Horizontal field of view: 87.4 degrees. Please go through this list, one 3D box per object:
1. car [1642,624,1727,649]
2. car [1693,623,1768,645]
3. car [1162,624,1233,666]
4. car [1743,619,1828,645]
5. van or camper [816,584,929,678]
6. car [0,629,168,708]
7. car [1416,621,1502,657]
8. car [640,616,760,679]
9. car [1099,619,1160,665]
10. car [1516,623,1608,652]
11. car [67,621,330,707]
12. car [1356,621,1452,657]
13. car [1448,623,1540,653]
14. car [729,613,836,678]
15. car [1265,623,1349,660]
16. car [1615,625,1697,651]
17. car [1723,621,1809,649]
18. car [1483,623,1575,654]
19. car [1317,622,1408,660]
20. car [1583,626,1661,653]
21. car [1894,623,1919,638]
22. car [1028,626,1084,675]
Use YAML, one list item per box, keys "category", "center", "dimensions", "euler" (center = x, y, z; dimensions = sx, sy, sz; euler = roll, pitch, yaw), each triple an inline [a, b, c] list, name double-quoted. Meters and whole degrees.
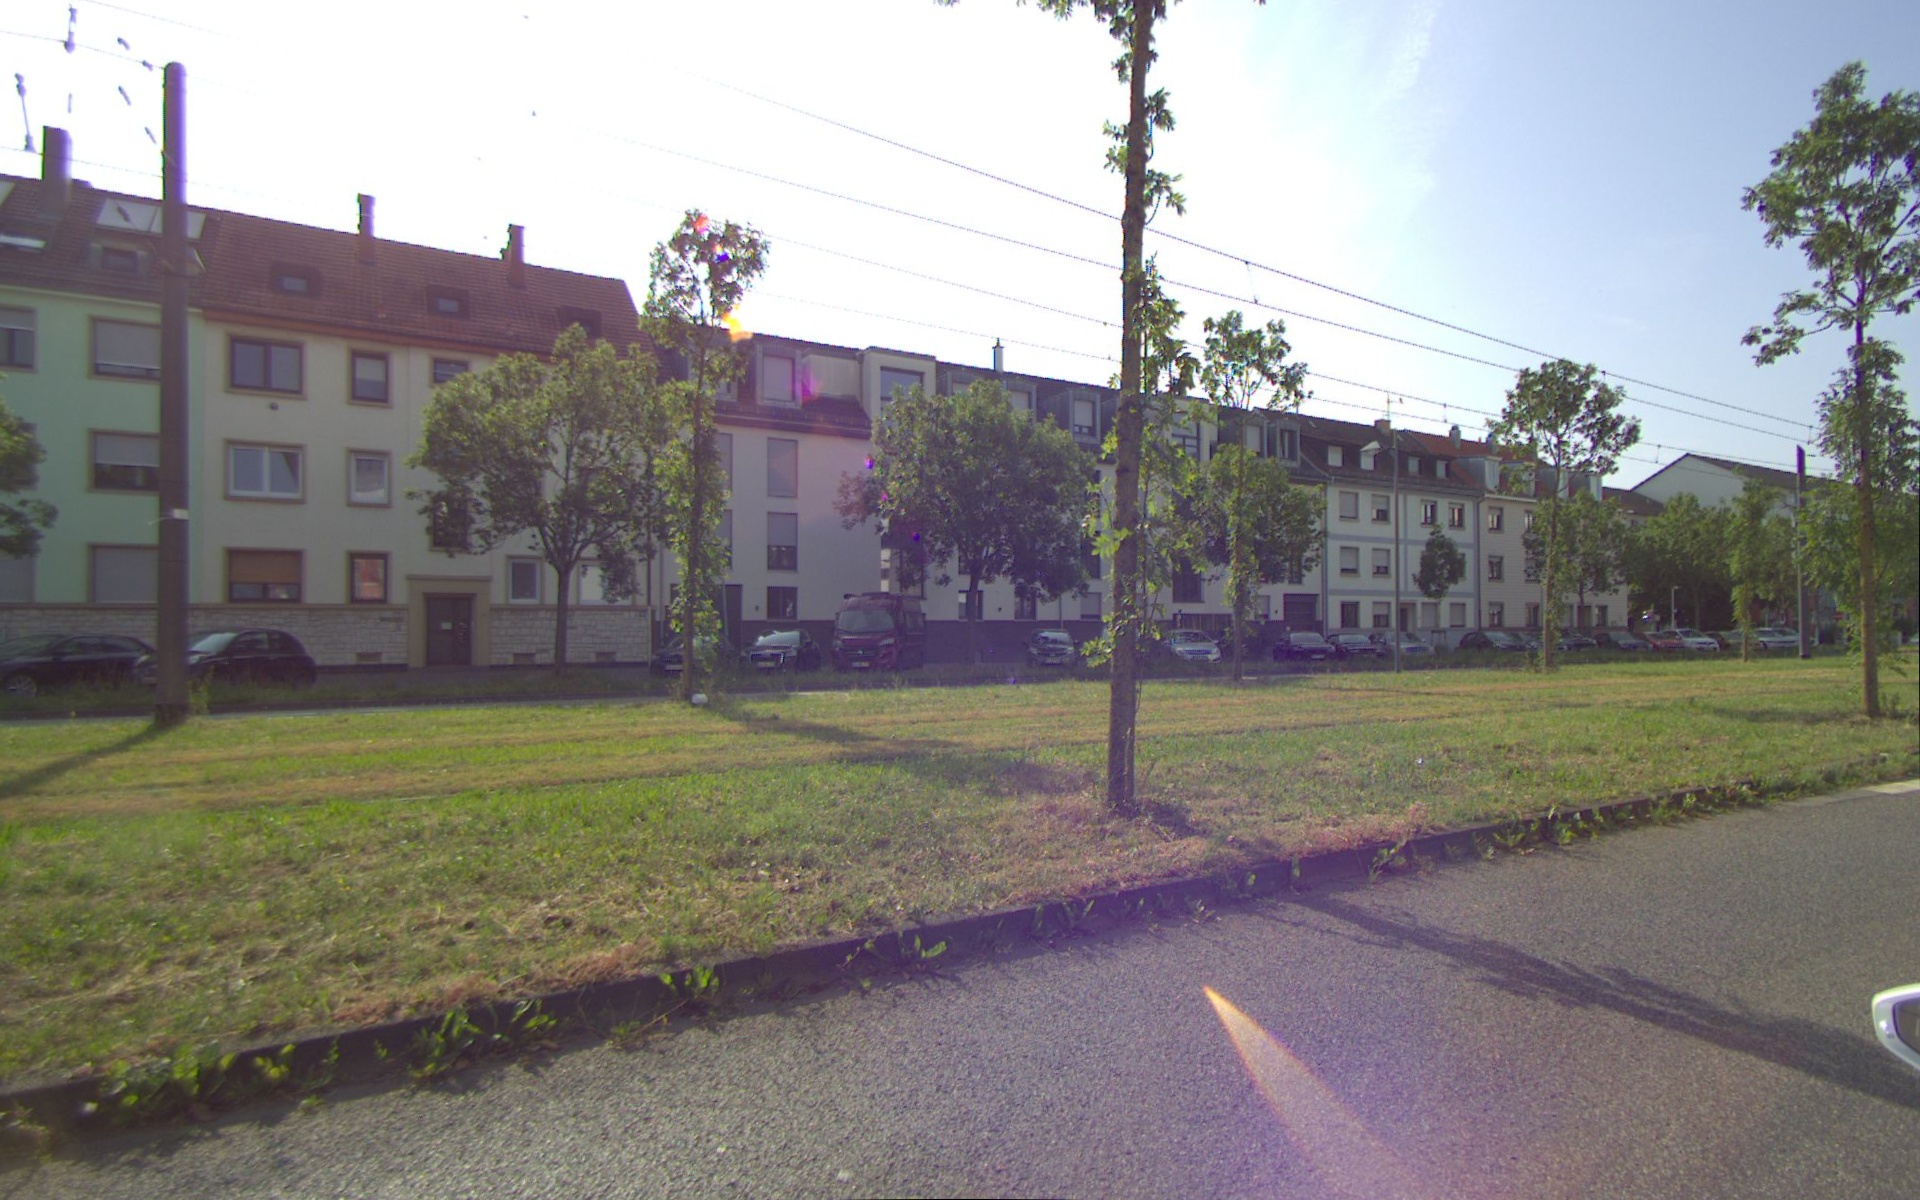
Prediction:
- category: "car"
  center: [40.818, 2.033, 56.678]
  dimensions: [1.849, 1.286, 3.999]
  euler: [1, 0, -1]
- category: "car"
  center: [46.592, 2.011, 60.864]
  dimensions: [1.959, 1.194, 4.002]
  euler: [1, 0, 10]
- category: "car"
  center: [8.551, 1.596, 36.505]
  dimensions: [1.699, 1.338, 4.400]
  euler: [0, 0, 2]
- category: "car"
  center: [52.213, 1.980, 63.673]
  dimensions: [1.924, 1.483, 4.354]
  euler: [1, 0, 2]
- category: "van or camper"
  center: [-2.512, 0.916, 30.766]
  dimensions: [2.365, 2.580, 6.166]
  euler: [0, -1, 5]
- category: "car"
  center: [-18.516, 1.327, 20.320]
  dimensions: [1.737, 1.361, 3.779]
  euler: [1, 0, 7]
- category: "car"
  center: [21.730, 1.675, 43.911]
  dimensions: [1.633, 1.394, 3.778]
  euler: [1, 0, -5]
- category: "car"
  center: [-7.297, 1.287, 28.650]
  dimensions: [1.831, 1.529, 4.156]
  euler: [3, 0, 8]
- category: "car"
  center: [5.818, 1.410, 34.816]
  dimensions: [1.609, 1.453, 3.722]
  euler: [0, 0, 2]
- category: "car"
  center: [29.638, 1.823, 49.611]
  dimensions: [1.961, 1.305, 4.057]
  euler: [1, 0, -3]
- category: "car"
  center: [-16.026, 1.269, 21.485]
  dimensions: [1.959, 1.550, 4.353]
  euler: [1, 0, 8]
- category: "car"
  center: [19.188, 1.644, 43.608]
  dimensions: [1.962, 1.394, 4.337]
  euler: [1, 0, -5]
- category: "car"
  center: [25.061, 1.767, 47.308]
  dimensions: [1.962, 1.305, 3.997]
  euler: [0, -1, -5]
- category: "car"
  center: [-5.080, 1.262, 29.258]
  dimensions: [1.831, 1.637, 4.156]
  euler: [3, 0, 8]
- category: "car"
  center: [14.001, 1.646, 40.732]
  dimensions: [1.800, 1.394, 3.998]
  euler: [0, -1, -4]
- category: "car"
  center: [38.254, 2.081, 55.338]
  dimensions: [1.838, 1.275, 4.001]
  euler: [1, 0, 2]
- category: "car"
  center: [49.286, 2.106, 61.555]
  dimensions: [1.959, 1.534, 4.467]
  euler: [1, 0, 6]
- category: "car"
  center: [27.455, 1.828, 48.626]
  dimensions: [1.962, 1.305, 3.997]
  euler: [1, 0, -5]
- category: "car"
  center: [16.373, 1.645, 41.054]
  dimensions: [1.890, 1.394, 3.998]
  euler: [1, 0, -4]
- category: "car"
  center: [35.191, 2.080, 53.496]
  dimensions: [1.665, 1.251, 4.001]
  euler: [1, 0, 3]
- category: "car"
  center: [78.748, 2.477, 82.630]
  dimensions: [4.118, 1.163, 1.823]
  euler: [1, 0, -32]
- category: "car"
  center: [3.182, 1.630, 33.649]
  dimensions: [1.746, 1.439, 4.002]
  euler: [1, 0, 4]
